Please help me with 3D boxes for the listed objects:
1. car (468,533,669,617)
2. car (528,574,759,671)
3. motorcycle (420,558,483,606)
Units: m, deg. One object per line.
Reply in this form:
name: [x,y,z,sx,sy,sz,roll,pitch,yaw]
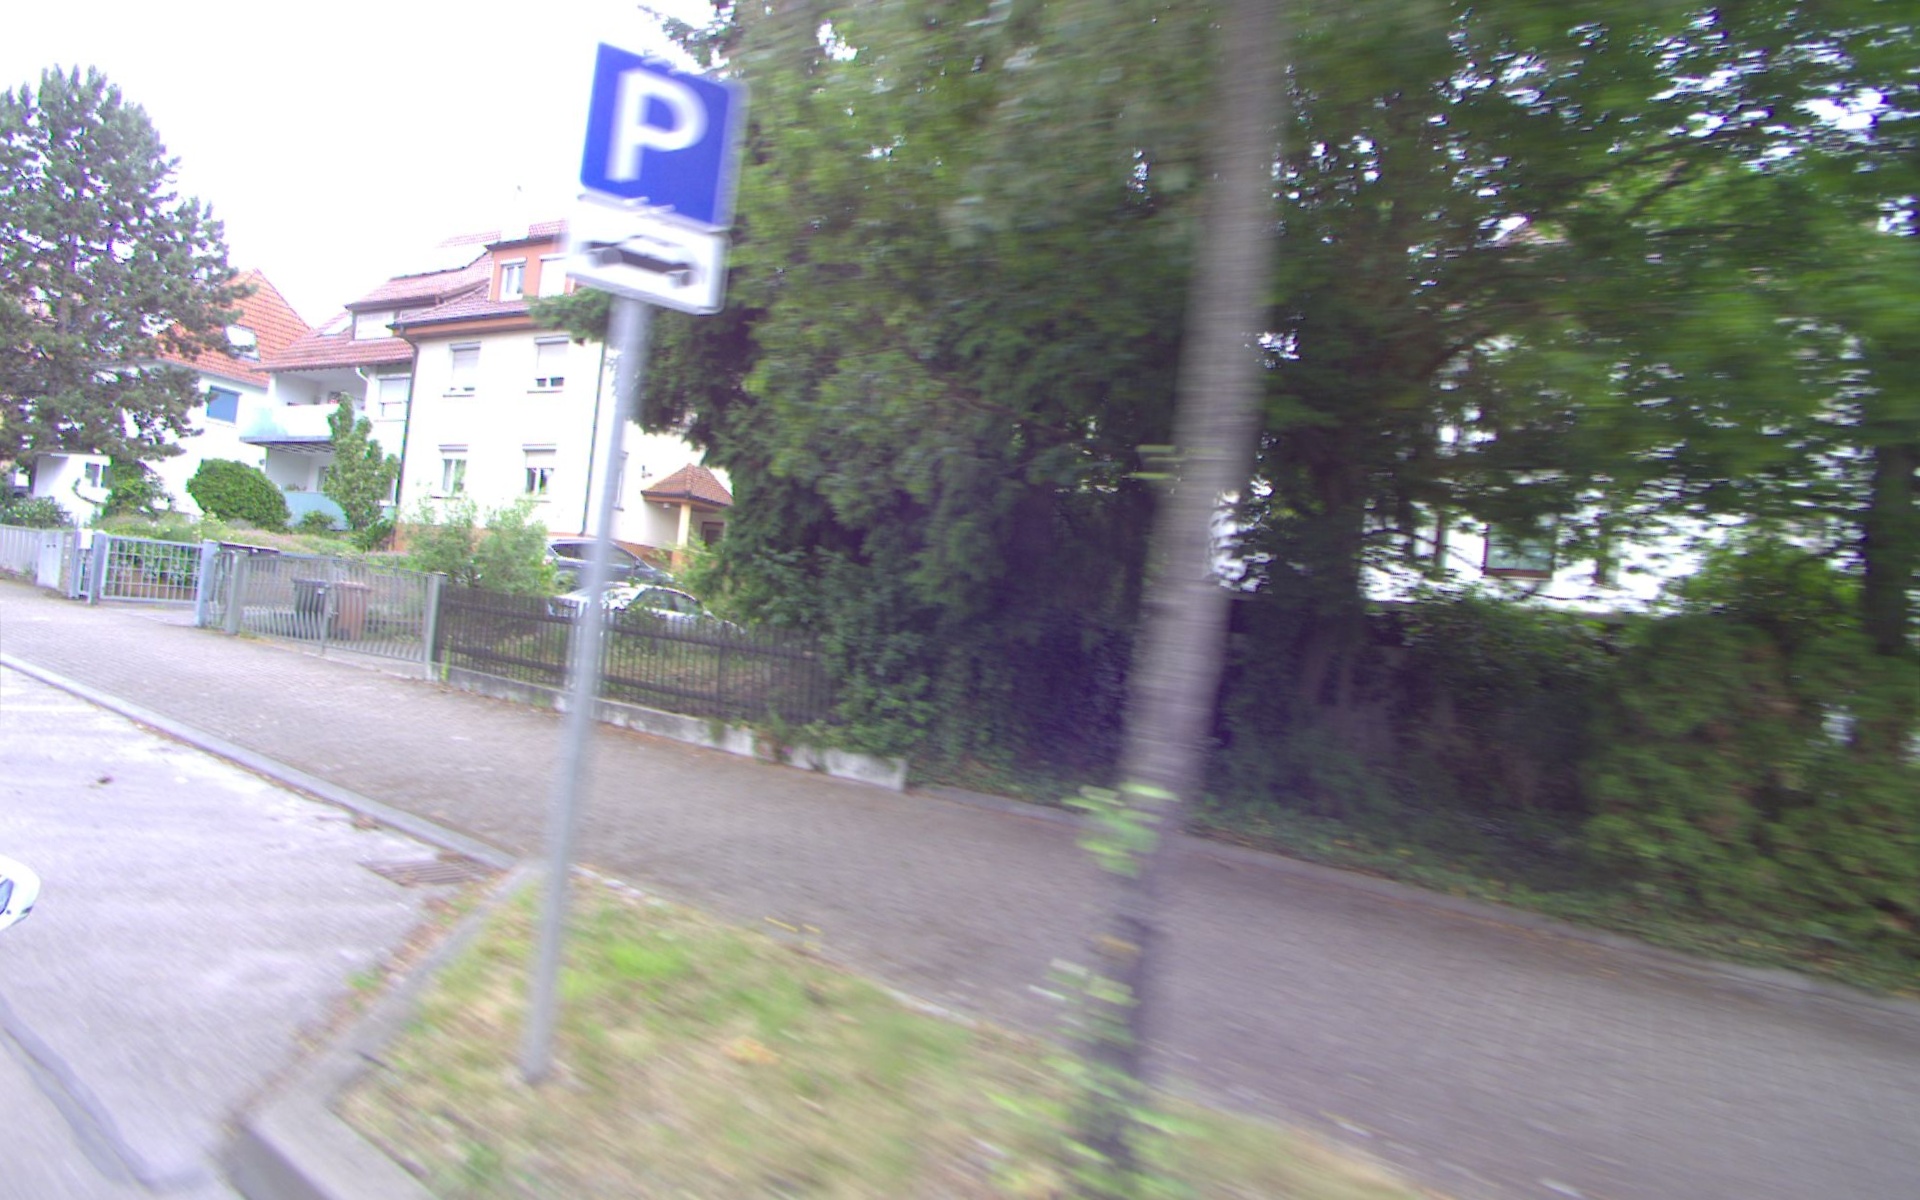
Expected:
car: [-8.799,-0.545,22.929,1.854,1.726,3.987,3,2,29]
car: [-5.861,0.487,19.073,1.619,1.409,3.993,5,-2,32]
motorcycle: [-11.747,-0.422,23.257,0.575,1.061,1.222,4,3,22]
